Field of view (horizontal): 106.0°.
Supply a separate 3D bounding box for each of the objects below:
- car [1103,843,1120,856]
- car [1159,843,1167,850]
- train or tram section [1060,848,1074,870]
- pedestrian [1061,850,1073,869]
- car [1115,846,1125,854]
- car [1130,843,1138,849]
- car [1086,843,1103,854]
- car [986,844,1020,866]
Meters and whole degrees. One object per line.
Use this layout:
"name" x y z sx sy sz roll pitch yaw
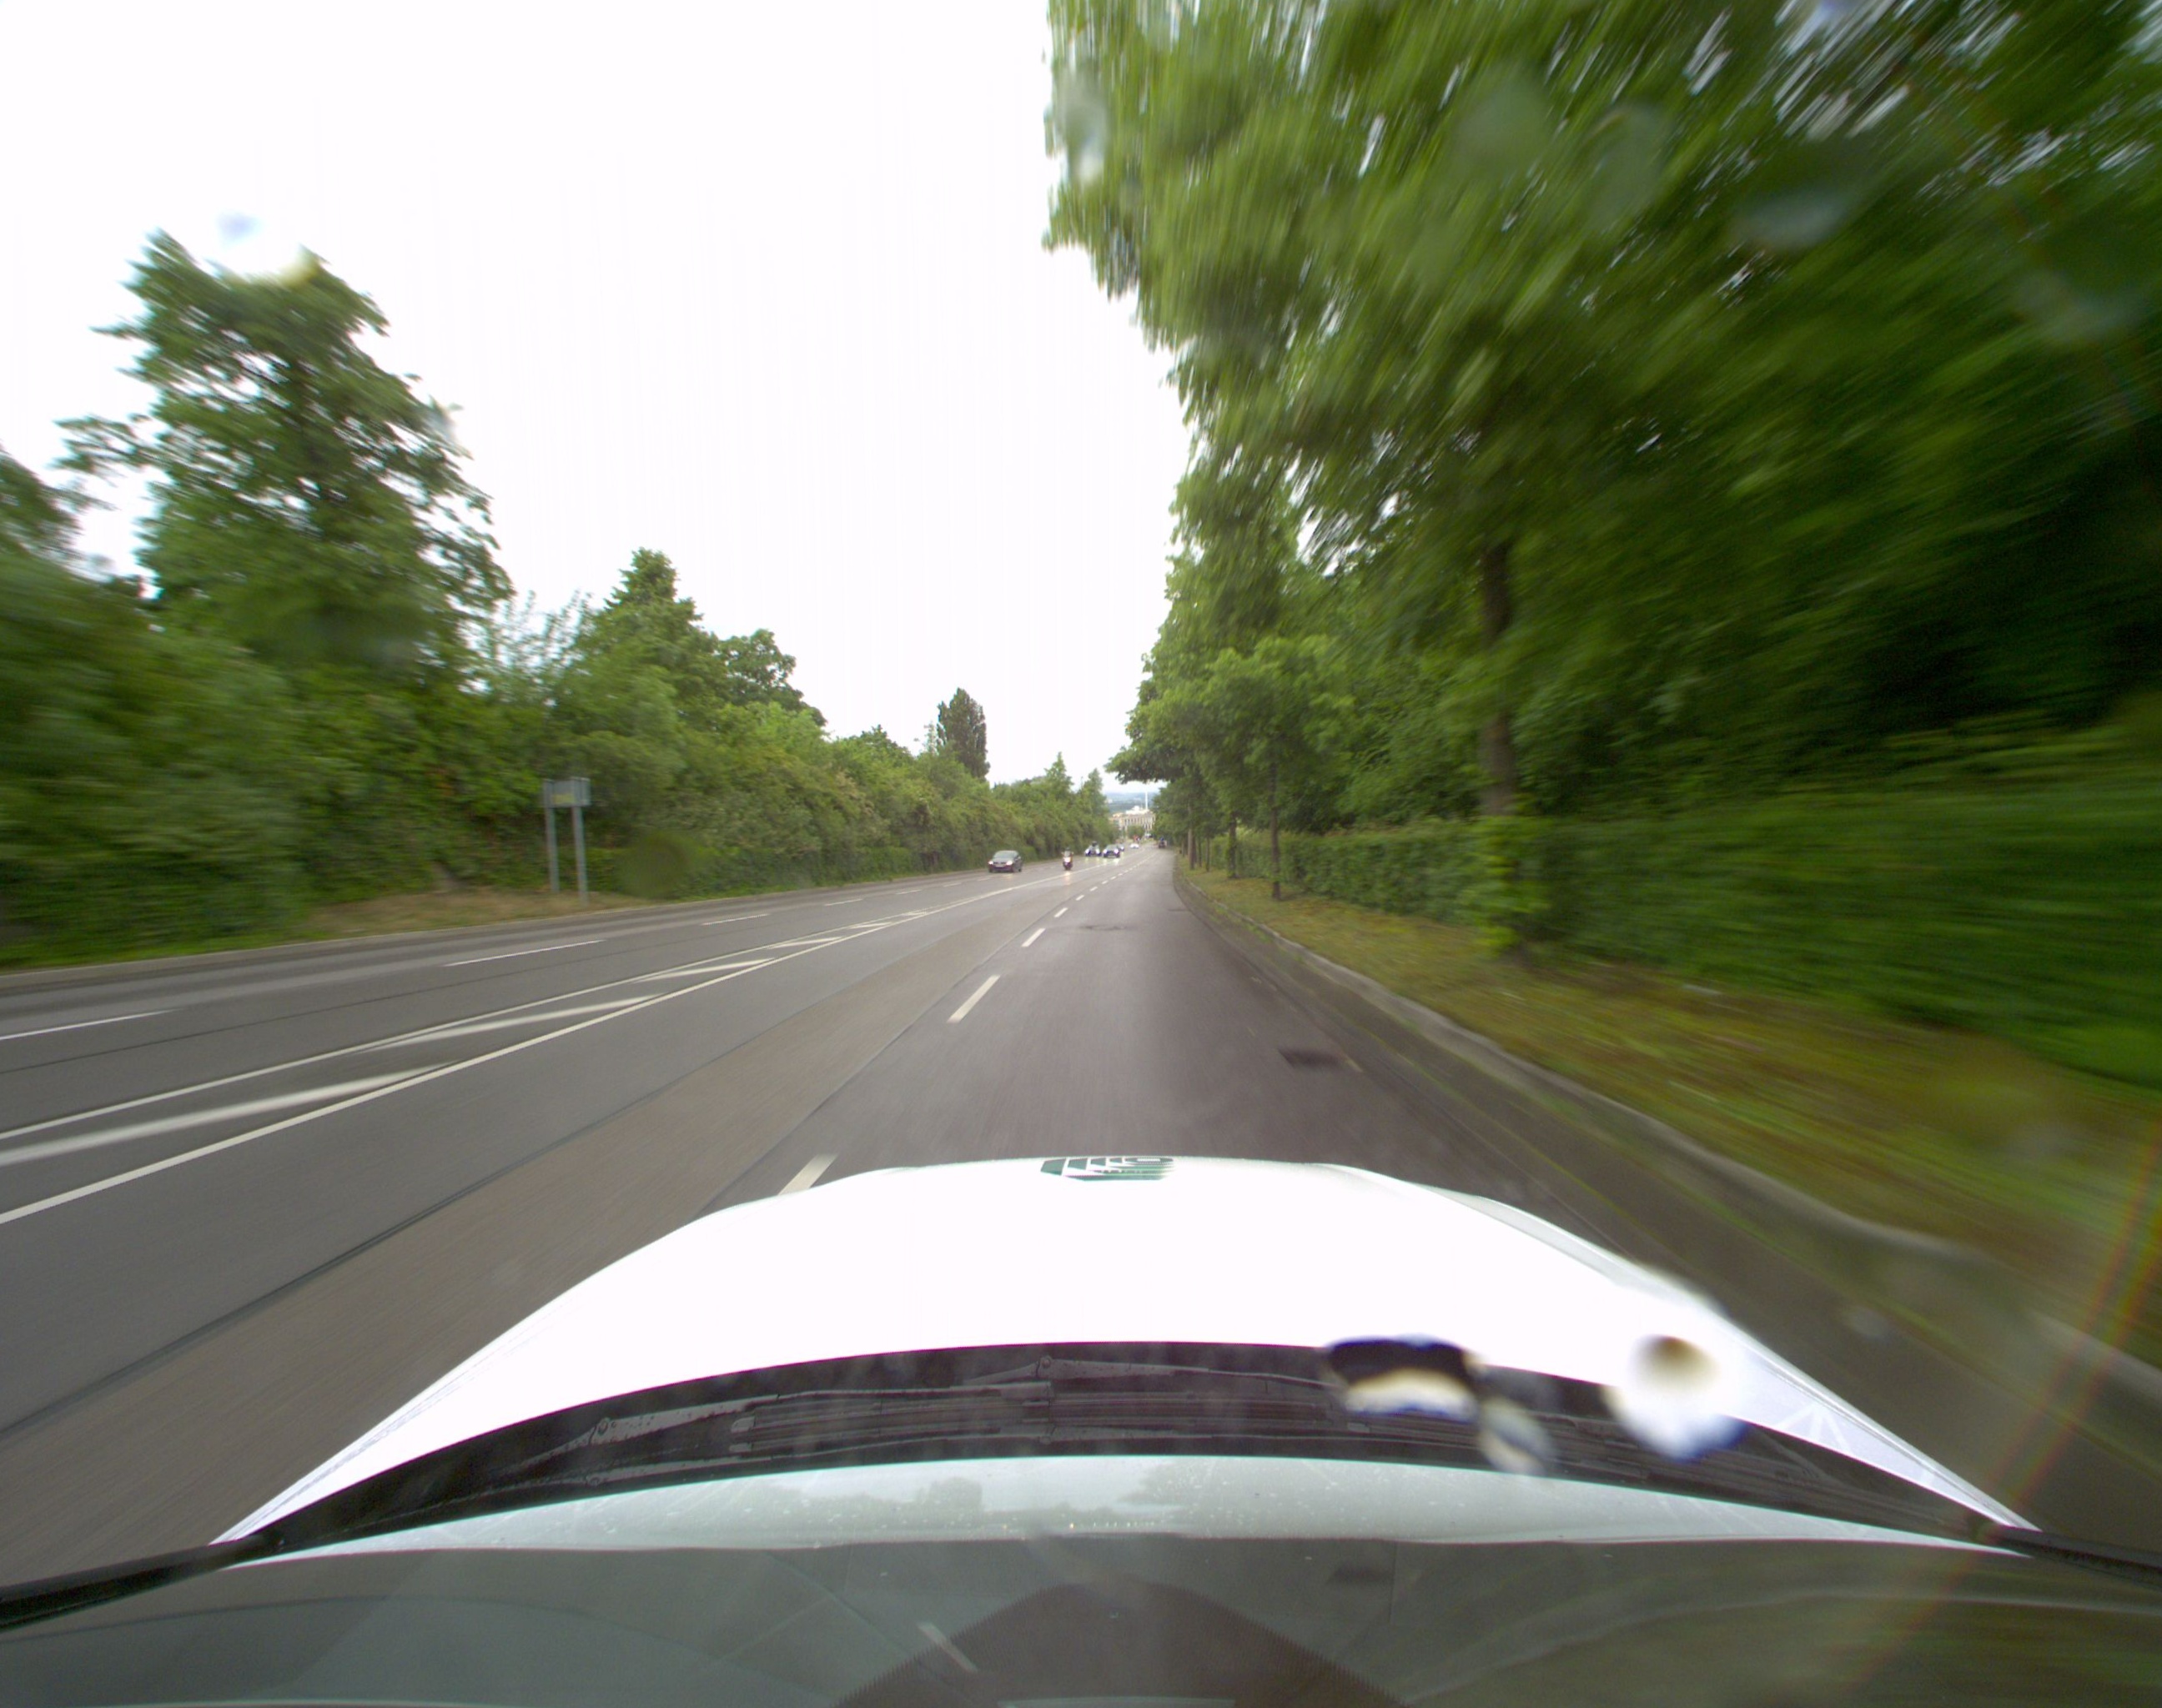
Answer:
"car" 4.028 -0.584 106.772 1.803 1.657 4.603 0 0 6
"car" 20.388 -1.891 203.030 1.839 1.702 3.801 1 0 7
"train or tram section" -1.004 0.372 59.584 0.787 1.570 2.387 1 0 5
"pedestrian" -1.002 0.372 59.614 0.787 1.383 0.976 1 0 5
"car" 7.683 -0.857 160.807 1.750 1.381 4.847 1 1 6
"car" 13.911 -2.193 214.419 1.706 1.505 4.525 1 1 7
"car" 1.860 -0.749 114.089 1.889 1.552 4.639 1 1 7
"car" -5.079 0.066 53.604 1.541 1.437 3.702 0 0 6
